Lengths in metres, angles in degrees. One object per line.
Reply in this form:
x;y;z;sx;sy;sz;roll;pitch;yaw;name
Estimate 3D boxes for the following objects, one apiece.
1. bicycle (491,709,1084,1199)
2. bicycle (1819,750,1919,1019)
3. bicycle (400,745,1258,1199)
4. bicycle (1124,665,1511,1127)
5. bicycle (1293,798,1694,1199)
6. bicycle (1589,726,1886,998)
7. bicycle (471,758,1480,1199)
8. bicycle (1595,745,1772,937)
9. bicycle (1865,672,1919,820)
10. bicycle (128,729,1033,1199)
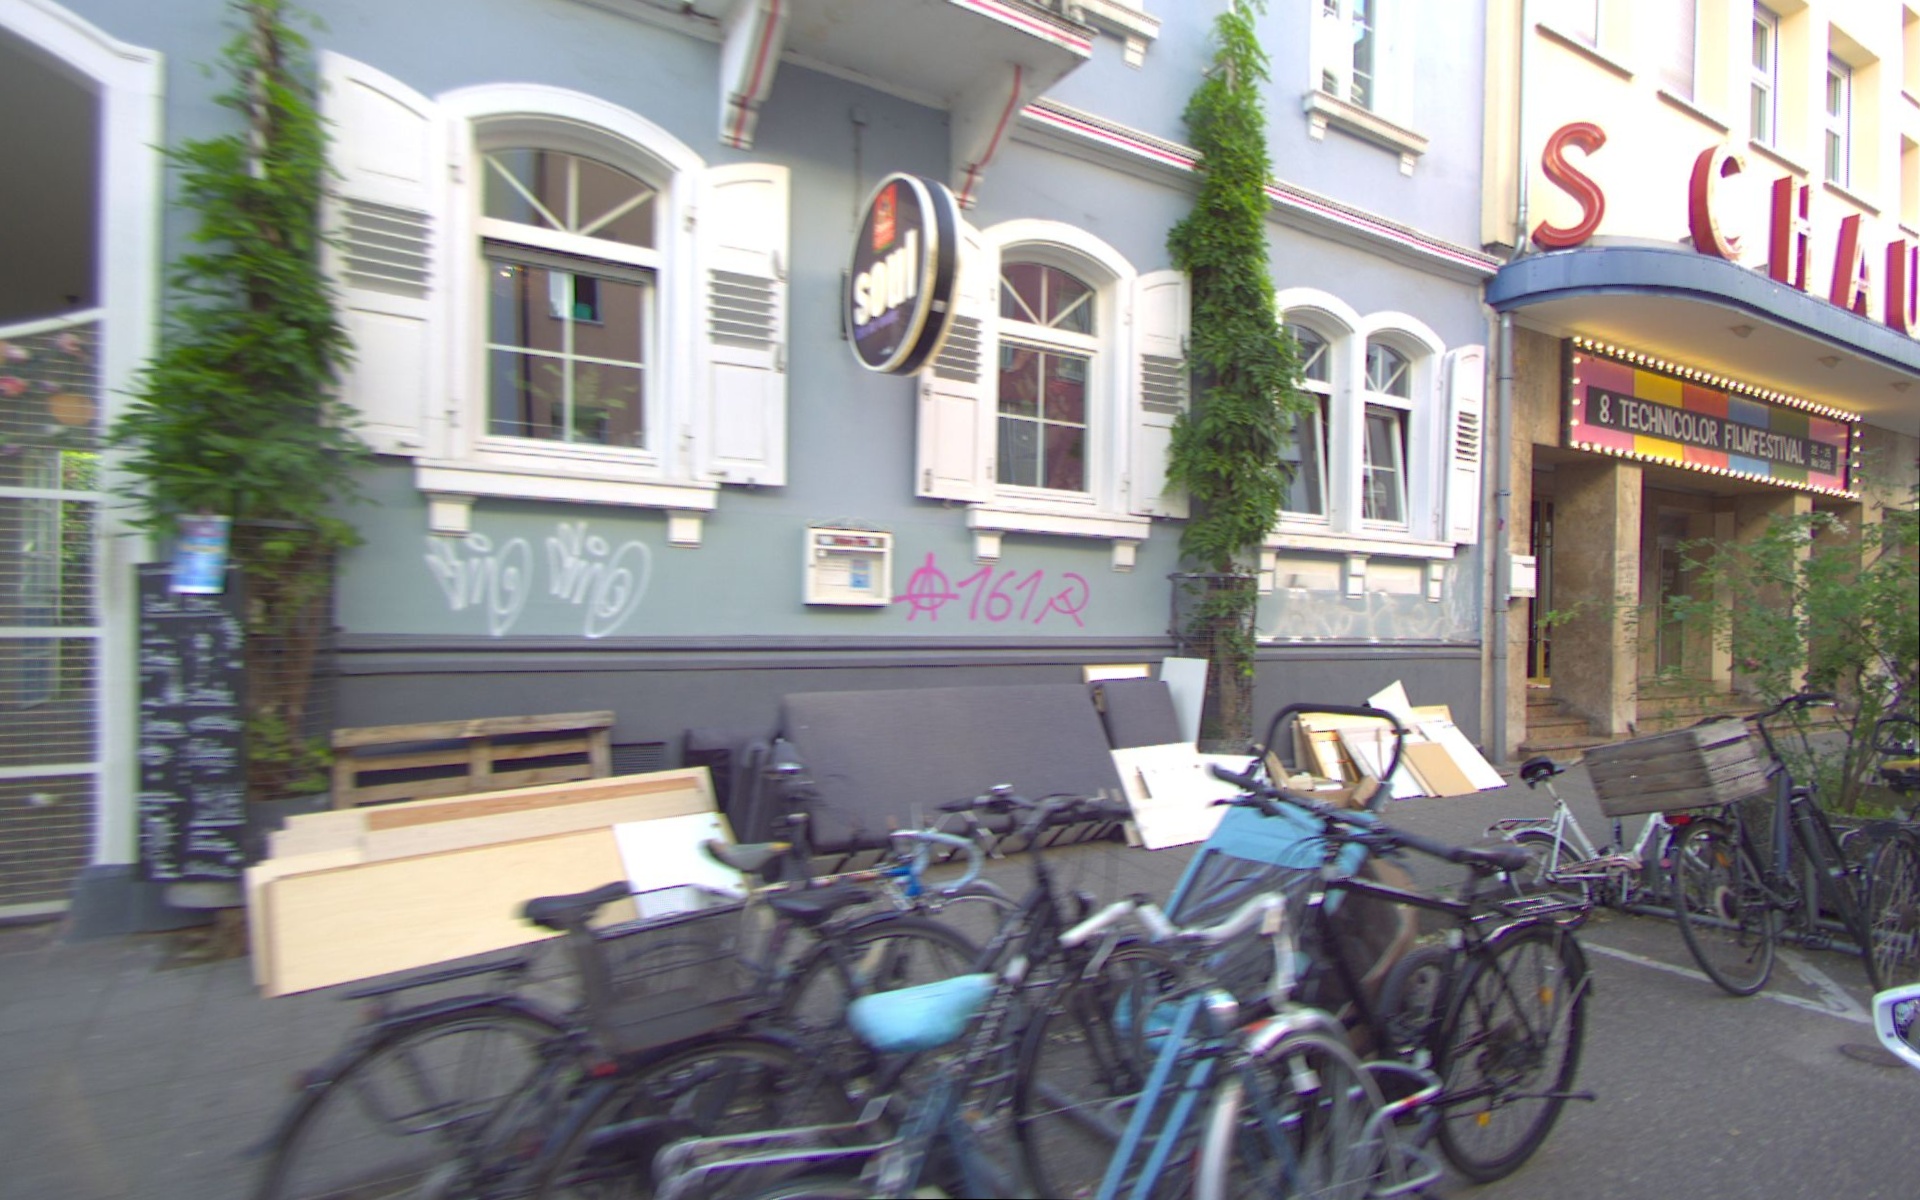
-0.441;0.941;2.985;1.678;1.120;0.441;1;1;-32;bicycle
4.220;1.156;4.309;1.376;0.929;0.388;1;0;-30;bicycle
-0.171;0.973;2.280;1.910;1.120;0.441;1;1;-32;bicycle
1.161;0.841;3.317;0.910;1.190;0.808;1;0;-33;bicycle
1.459;1.071;2.677;1.275;0.929;0.320;1;0;-31;bicycle
3.624;1.127;4.654;1.553;0.956;0.551;1;-1;-30;bicycle
0.150;0.936;1.790;1.809;1.120;0.496;1;1;-31;bicycle
3.863;1.239;5.334;1.284;0.828;0.255;1;0;-31;bicycle
7.783;1.137;7.983;1.395;1.059;0.570;1;0;-35;bicycle
-0.715;0.937;2.356;1.853;1.120;0.441;1;1;-33;bicycle
